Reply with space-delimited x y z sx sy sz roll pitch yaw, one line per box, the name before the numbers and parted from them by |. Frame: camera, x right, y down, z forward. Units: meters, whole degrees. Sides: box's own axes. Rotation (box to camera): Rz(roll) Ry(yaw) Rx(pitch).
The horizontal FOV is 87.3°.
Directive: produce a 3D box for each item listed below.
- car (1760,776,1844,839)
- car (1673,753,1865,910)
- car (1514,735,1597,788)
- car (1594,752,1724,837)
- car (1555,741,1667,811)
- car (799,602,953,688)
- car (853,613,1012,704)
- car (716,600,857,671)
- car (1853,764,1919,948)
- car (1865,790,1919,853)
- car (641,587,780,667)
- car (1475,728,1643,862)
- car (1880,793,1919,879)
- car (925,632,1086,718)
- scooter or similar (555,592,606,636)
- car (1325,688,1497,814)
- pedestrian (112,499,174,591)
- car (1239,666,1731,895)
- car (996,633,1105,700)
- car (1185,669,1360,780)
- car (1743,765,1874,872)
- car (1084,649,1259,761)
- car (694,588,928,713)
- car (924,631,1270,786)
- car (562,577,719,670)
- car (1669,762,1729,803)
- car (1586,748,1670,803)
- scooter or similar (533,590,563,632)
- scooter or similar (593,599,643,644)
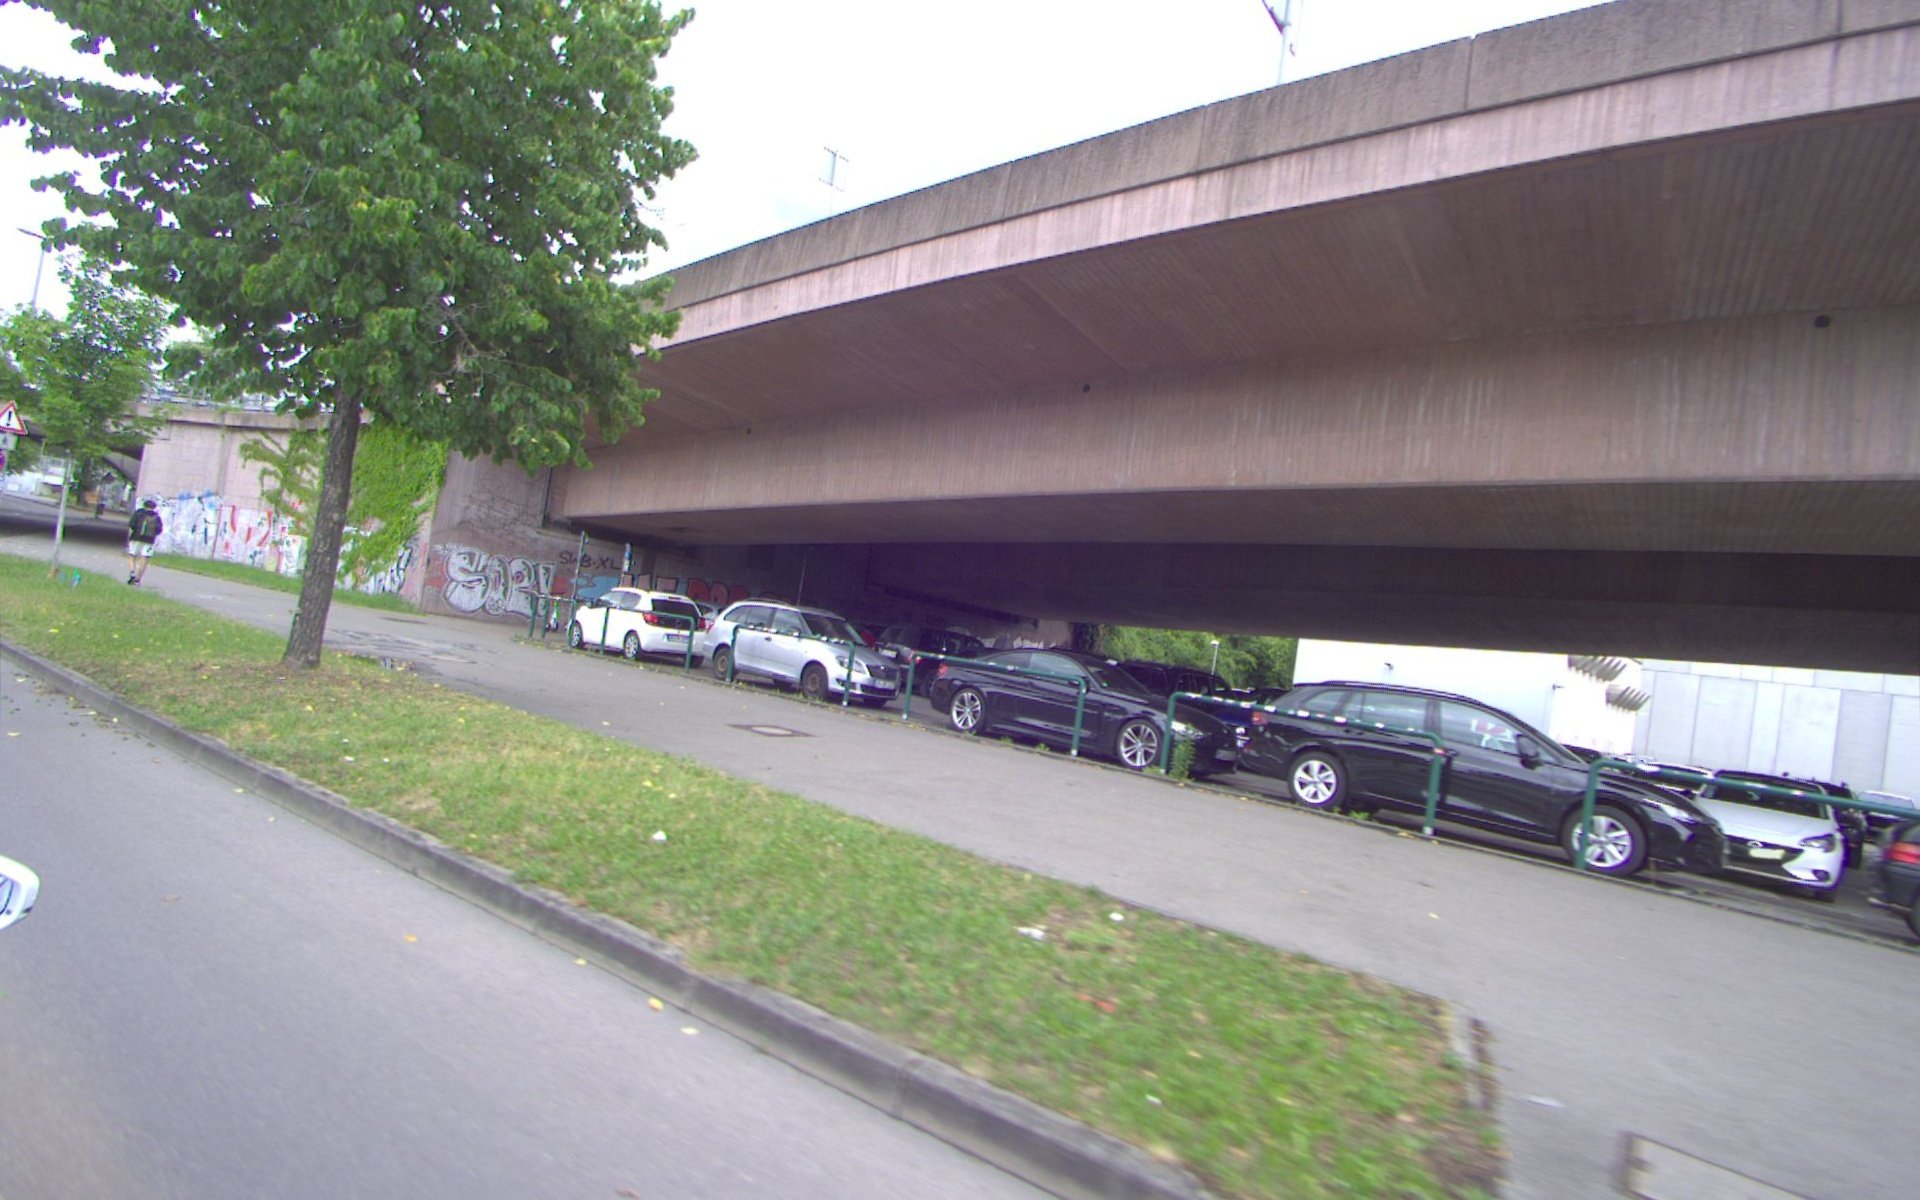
car | 28.378 6.958 33.859 1.814 1.610 4.176 7 -3 43
car | 10.943 3.045 13.822 1.672 1.526 3.854 8 -3 37
car | 23.375 6.370 39.440 1.814 1.610 4.176 7 -3 43
car | 16.147 4.462 23.177 1.814 1.443 3.847 7 -3 43
car | 18.274 4.949 28.179 1.814 1.481 4.176 7 -3 43
car | -2.135 1.225 26.405 1.731 1.656 3.854 8 -3 37
car | -0.603 1.484 24.750 1.731 1.656 3.854 8 -3 37
car | -5.104 1.091 29.999 1.731 1.494 3.854 8 -3 37
car | 8.988 2.249 7.283 3.651 1.343 1.505 6 -5 44
car | 30.117 7.069 31.987 1.814 1.610 4.176 7 -3 43
car | -6.626 0.670 26.452 1.740 1.515 3.952 11 -3 -42
car | 9.142 2.875 15.210 1.672 1.459 3.854 8 -3 37
car | 19.632 4.757 19.802 4.357 1.485 1.817 12 -4 -42
car | 1.133 1.778 23.299 1.731 1.454 3.854 8 -3 37
scooter or similar | -11.552 0.420 30.607 1.411 1.142 0.270 8 -1 15
car | 7.556 2.496 16.656 1.672 1.572 3.854 8 -3 37
pedestrian | -18.303 -1.231 22.538 0.813 1.929 0.734 7 -2 41
car | 5.275 1.741 10.487 4.190 1.435 1.506 6 -5 42
car | 3.270 2.407 35.912 1.858 1.808 3.649 7 -3 43
car | 5.826 2.329 18.464 1.731 1.572 3.854 8 -3 37
car | 18.103 4.593 21.407 1.814 1.717 3.847 7 -3 43
car | 4.227 2.109 19.691 1.731 1.712 3.854 8 -3 37
car | -2.683 0.848 17.631 4.010 1.552 1.613 7 -3 39
car | 1.729 1.414 13.712 4.314 1.336 1.766 7 -4 42
car | -6.799 0.463 21.255 3.332 1.455 1.573 7 -3 43
car | 35.992 8.897 48.952 1.746 1.549 3.960 7 -3 44
car | 24.858 6.536 37.381 1.814 1.610 4.176 7 -3 43
scooter or similar | -11.812 0.318 28.899 0.265 1.142 1.678 8 -2 -9
scooter or similar | -10.662 0.665 31.394 1.411 1.181 0.270 8 -1 15
